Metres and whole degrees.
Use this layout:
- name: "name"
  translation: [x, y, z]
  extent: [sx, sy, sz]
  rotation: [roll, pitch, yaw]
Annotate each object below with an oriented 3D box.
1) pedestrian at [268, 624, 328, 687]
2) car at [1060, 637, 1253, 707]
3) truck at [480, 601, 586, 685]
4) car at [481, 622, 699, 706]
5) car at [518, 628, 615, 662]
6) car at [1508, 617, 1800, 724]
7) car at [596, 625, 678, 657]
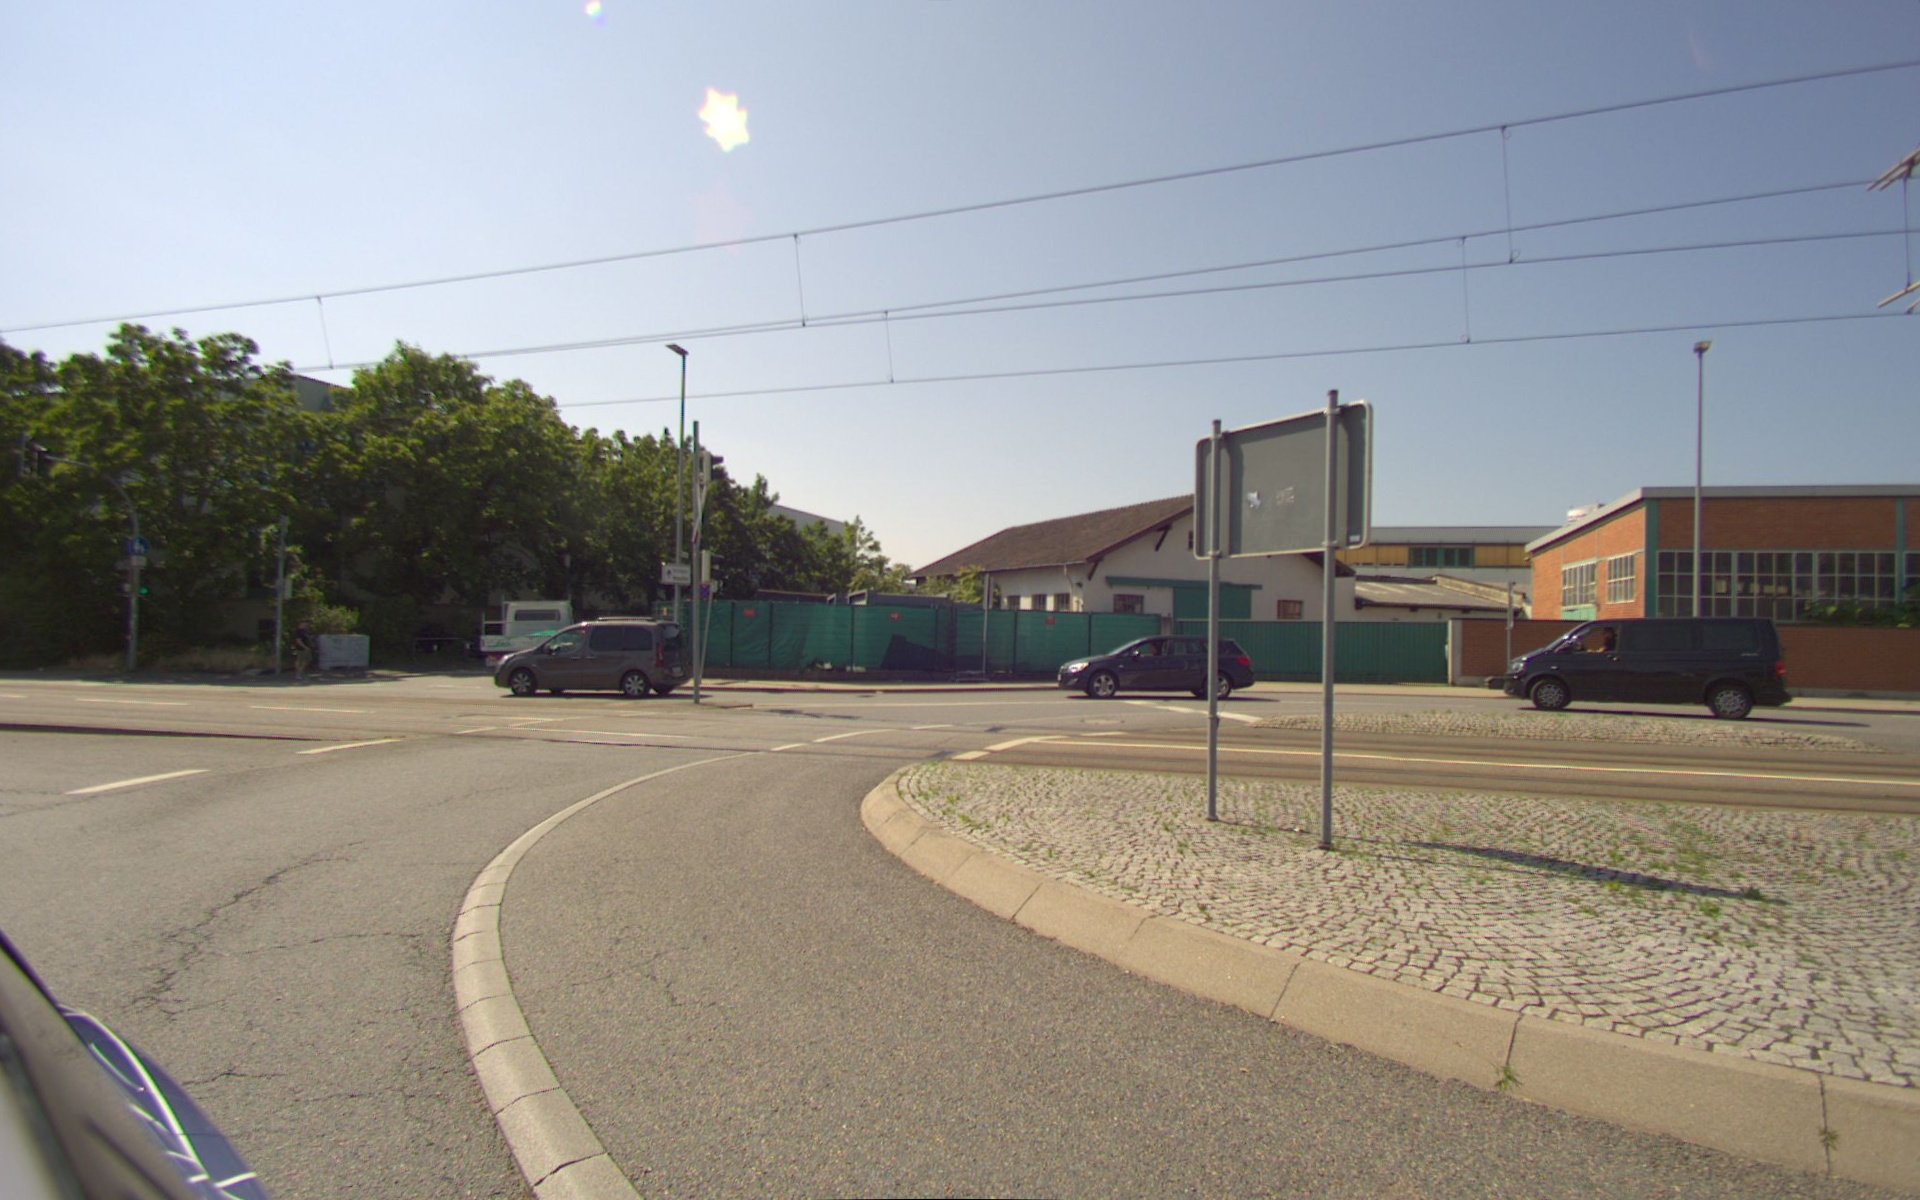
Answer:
- name: "pedestrian"
  translation: [-19.728, 1.638, 30.164]
  extent: [1.150, 1.682, 0.884]
  rotation: [8, 3, 16]
- name: "car"
  translation: [4.584, 1.693, 24.107]
  extent: [4.183, 1.568, 1.969]
  rotation: [0, -3, 0]
- name: "truck"
  translation: [-13.216, 1.281, 31.738]
  extent: [2.172, 2.355, 6.407]
  rotation: [1, -1, -15]
- name: "car"
  translation: [-8.542, 1.459, 23.617]
  extent: [4.354, 1.832, 1.986]
  rotation: [0, -2, 6]
- name: "car"
  translation: [-17.788, 2.054, 45.901]
  extent: [3.807, 1.478, 1.628]
  rotation: [1, -2, -6]
- name: "car"
  translation: [13.900, 1.378, 20.519]
  extent: [4.630, 1.925, 2.072]
  rotation: [-2, -3, 37]
- name: "car"
  translation: [-17.021, 2.141, 53.428]
  extent: [3.826, 1.650, 1.620]
  rotation: [0, -2, 12]
